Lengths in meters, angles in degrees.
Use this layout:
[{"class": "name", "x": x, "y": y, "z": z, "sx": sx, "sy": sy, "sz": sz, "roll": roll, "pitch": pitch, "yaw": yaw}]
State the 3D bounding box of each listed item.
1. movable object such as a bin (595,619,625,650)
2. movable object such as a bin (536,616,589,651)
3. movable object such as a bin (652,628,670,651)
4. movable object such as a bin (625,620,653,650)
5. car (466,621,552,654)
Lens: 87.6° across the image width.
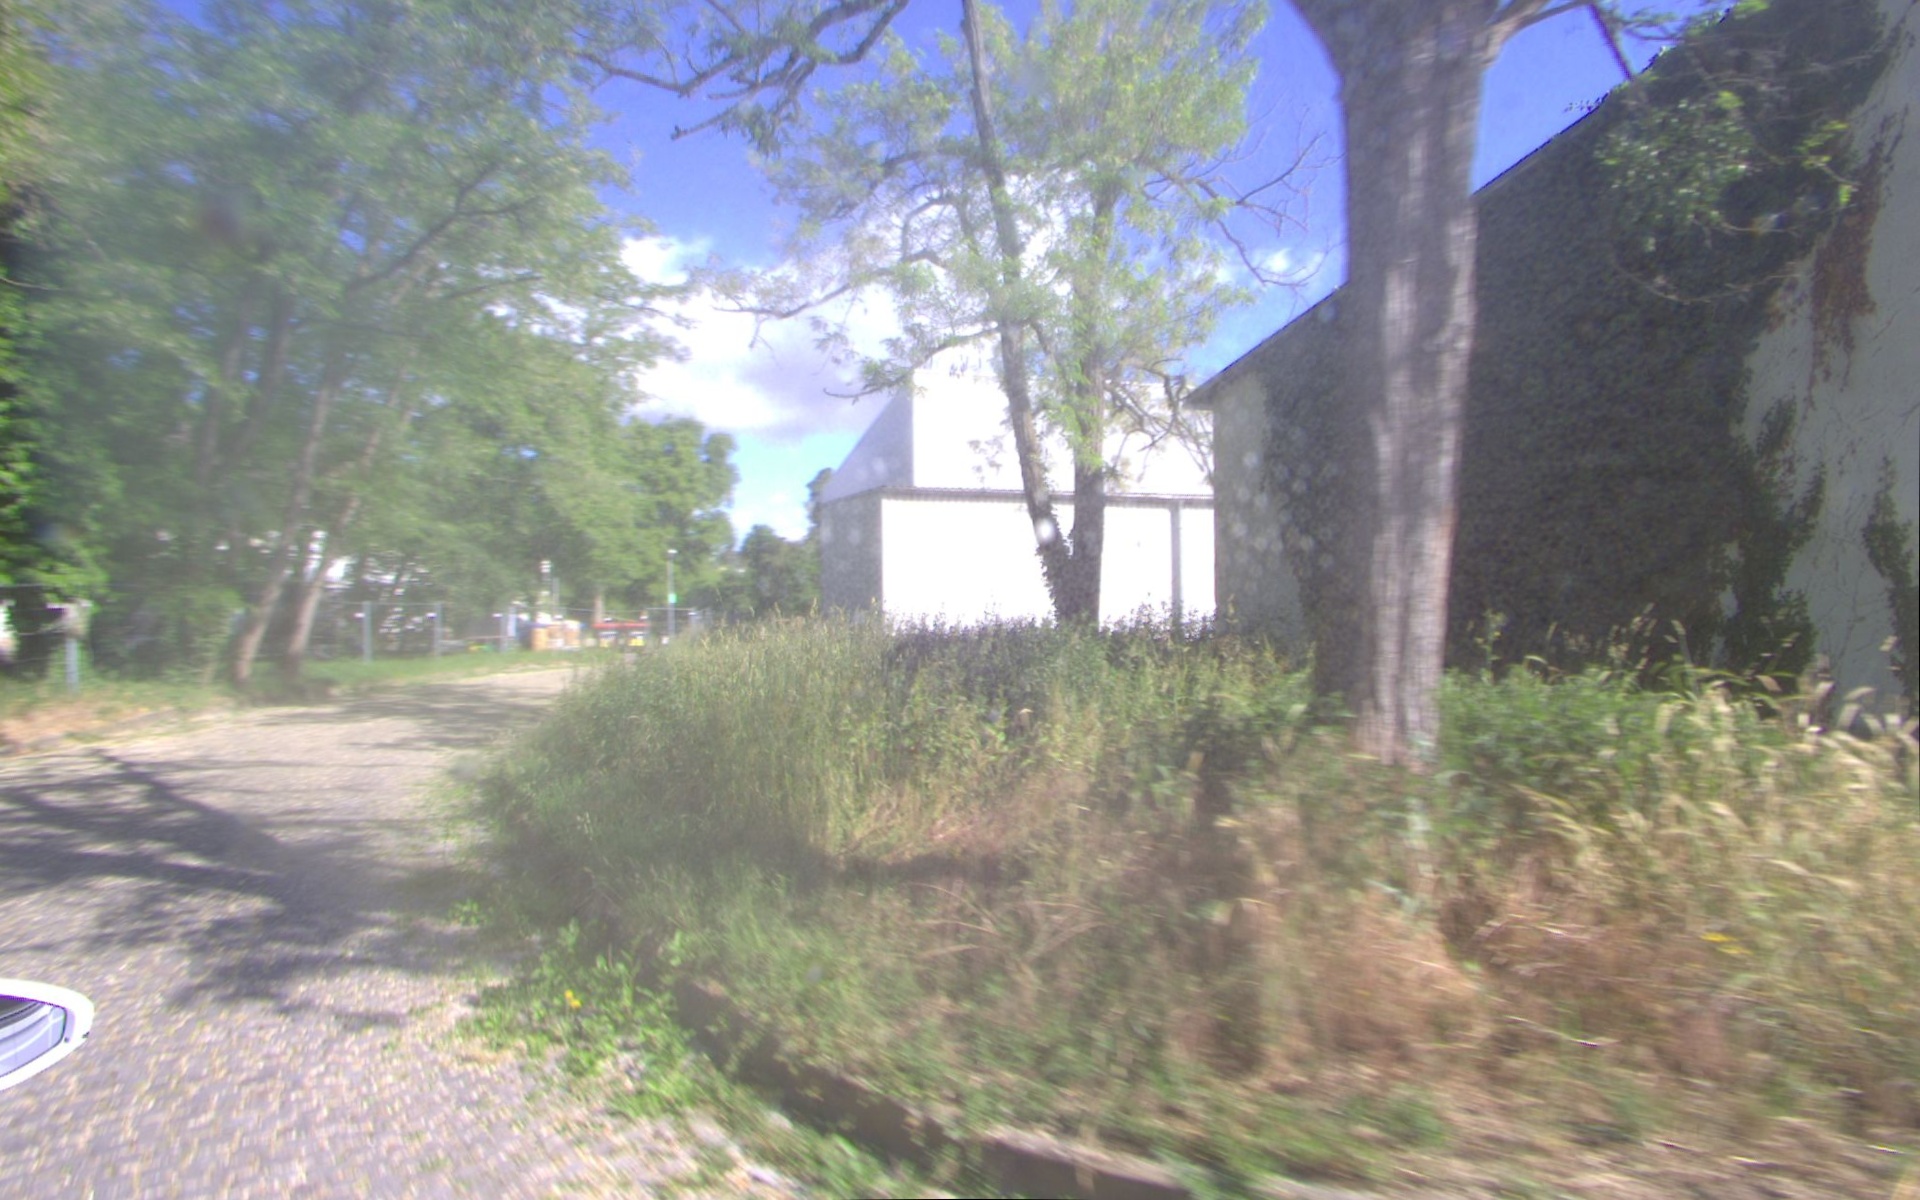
[{"class": "movable object such as a bin", "x": -16.699, "y": 1.638, "z": 47.758, "sx": 1.319, "sy": 1.503, "sz": 0.805, "roll": 0, "pitch": 0, "yaw": -20}, {"class": "movable object such as a bin", "x": -18.609, "y": 1.563, "z": 46.978, "sx": 2.256, "sy": 1.612, "sz": 1.172, "roll": 0, "pitch": -1, "yaw": -20}, {"class": "movable object such as a bin", "x": -14.387, "y": 1.900, "z": 48.232, "sx": 0.724, "sy": 1.112, "sz": 0.819, "roll": 0, "pitch": 0, "yaw": -10}, {"class": "movable object such as a bin", "x": -15.385, "y": 1.670, "z": 47.987, "sx": 1.227, "sy": 1.463, "sz": 0.701, "roll": 0, "pitch": -1, "yaw": -19}, {"class": "car", "x": -27.991, "y": 2.317, "z": 62.279, "sx": 4.642, "sy": 1.926, "sz": 1.997, "roll": -1, "pitch": -1, "yaw": -18}]
